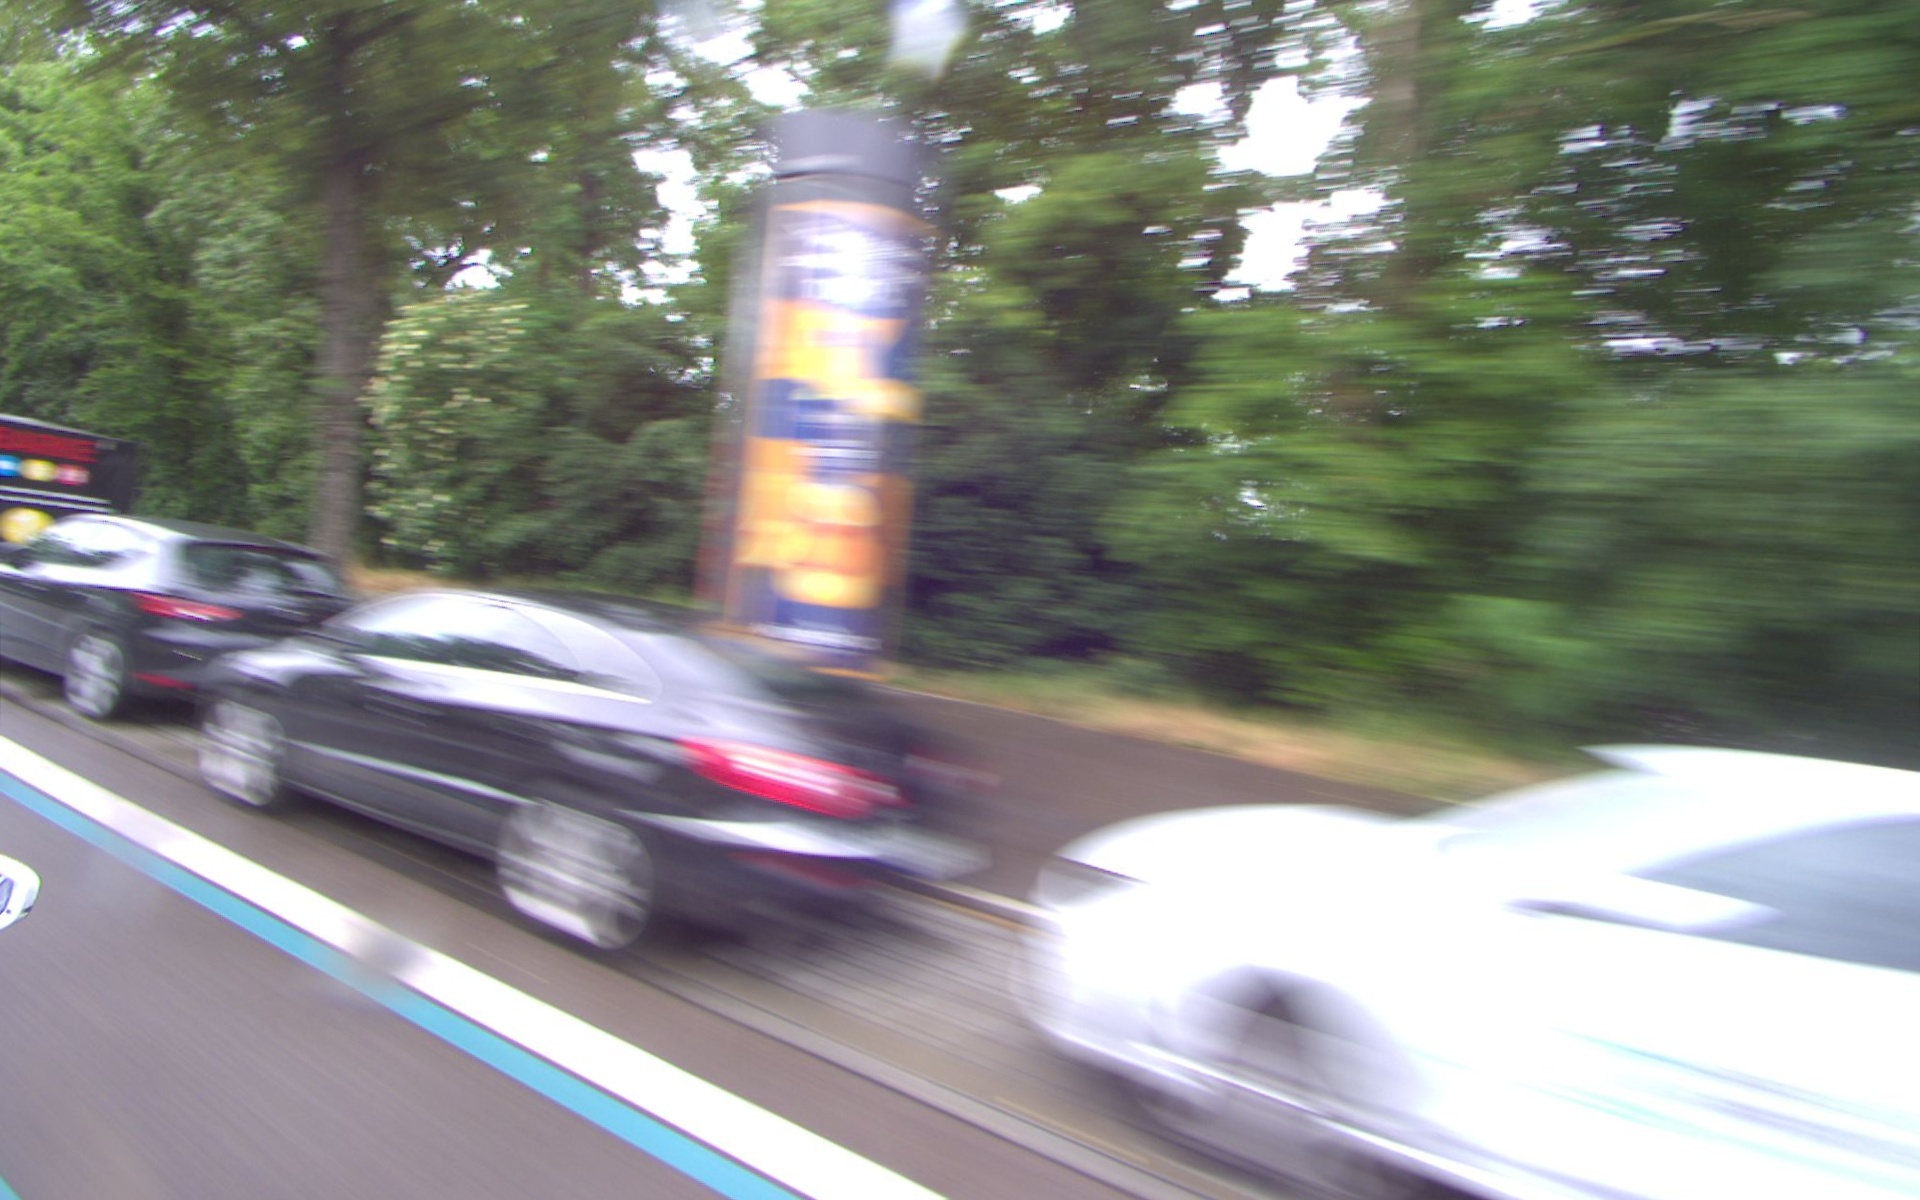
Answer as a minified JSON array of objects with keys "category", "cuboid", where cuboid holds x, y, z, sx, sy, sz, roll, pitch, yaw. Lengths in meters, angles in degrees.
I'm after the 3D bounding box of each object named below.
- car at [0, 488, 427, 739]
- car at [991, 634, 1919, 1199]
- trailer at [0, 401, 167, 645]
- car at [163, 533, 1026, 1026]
[{"category":"car","cuboid":[-6.631,0.032,8.357,4.128,1.502,1.827,7,-2,30]},{"category":"car","cuboid":[2.282,1.127,3.020,3.931,1.484,1.622,7,-1,28]},{"category":"trailer","cuboid":[-11.005,-0.969,11.114,4.689,2.275,1.908,7,0,32]},{"category":"car","cuboid":[-2.063,0.639,5.332,4.370,1.409,1.756,7,-2,29]}]
